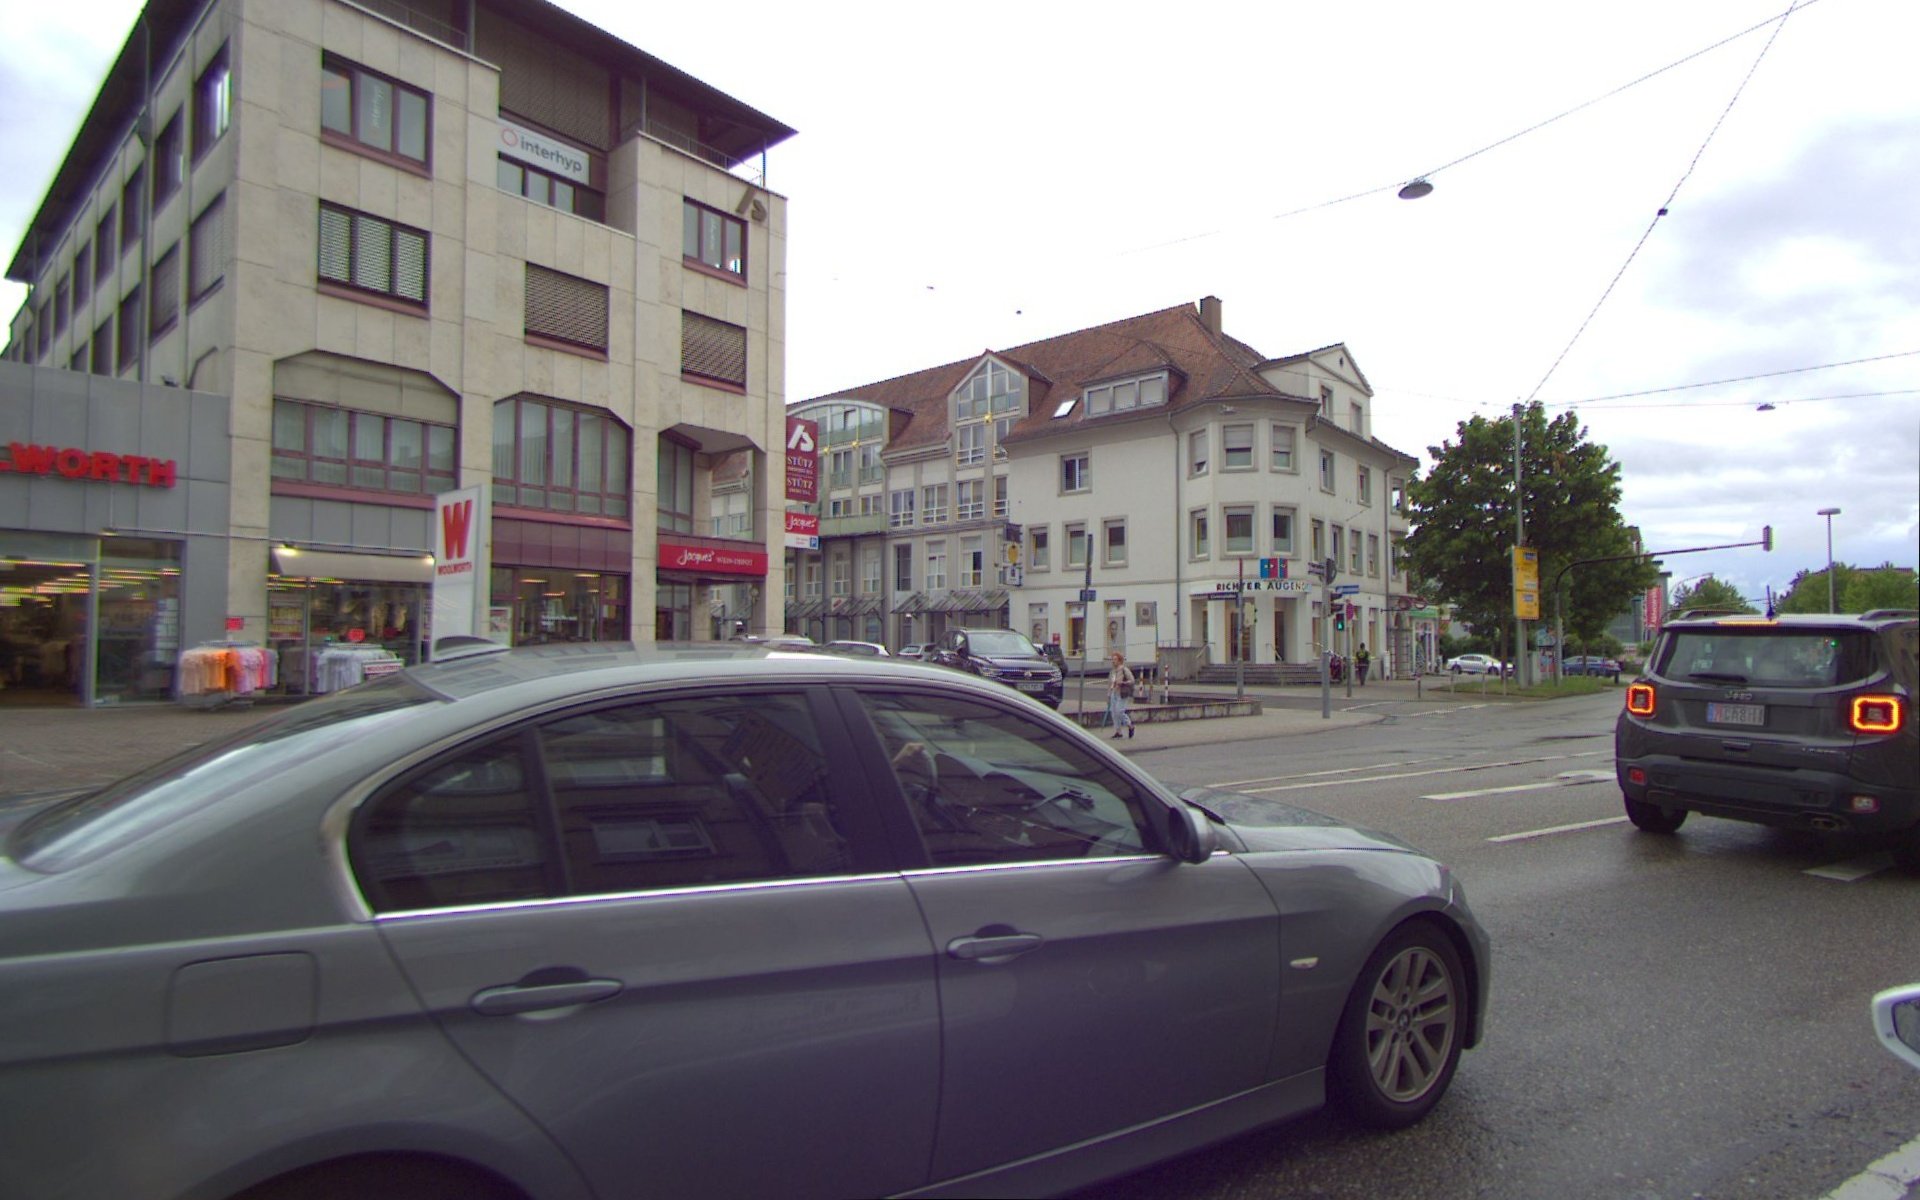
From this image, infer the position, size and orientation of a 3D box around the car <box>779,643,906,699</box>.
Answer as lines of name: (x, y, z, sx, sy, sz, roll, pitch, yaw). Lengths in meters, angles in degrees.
car: (-3.682, 2.228, 31.368, 3.698, 1.519, 1.578, 4, -4, -15)

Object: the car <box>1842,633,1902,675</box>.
car: (46.824, 2.775, 51.661, 1.970, 2.040, 3.983, -2, -4, 39)

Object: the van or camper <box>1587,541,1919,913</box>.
van or camper: (6.864, 0.844, 7.773, 4.098, 2.174, 1.844, 2, -3, -33)

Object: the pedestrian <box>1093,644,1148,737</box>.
pedestrian: (2.789, 1.549, 17.445, 0.751, 1.549, 0.506, 0, -2, 40)

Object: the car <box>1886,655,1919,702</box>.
car: (39.186, 3.134, 40.523, 1.966, 1.839, 3.990, -1, -3, 33)

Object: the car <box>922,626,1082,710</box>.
car: (0.731, 1.374, 20.782, 1.923, 1.525, 4.417, 1, -3, -17)

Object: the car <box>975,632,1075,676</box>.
car: (2.787, 2.345, 43.701, 3.939, 1.839, 1.992, -2, -4, 39)

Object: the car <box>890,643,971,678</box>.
car: (-1.411, 2.929, 48.698, 1.845, 1.611, 3.985, -2, -4, 37)

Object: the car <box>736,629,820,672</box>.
car: (-8.997, 2.497, 49.556, 3.939, 2.040, 1.991, -2, -3, 39)

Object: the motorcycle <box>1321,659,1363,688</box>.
motorcycle: (16.573, 3.158, 43.545, 0.712, 1.193, 2.573, -2, -4, 45)

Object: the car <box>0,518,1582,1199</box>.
car: (-0.282, 0.744, 2.872, 4.322, 1.483, 1.790, 3, -3, -32)

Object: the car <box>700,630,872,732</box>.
car: (-3.187, 1.315, 17.608, 1.861, 1.546, 4.432, 2, -2, -25)

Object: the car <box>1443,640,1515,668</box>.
car: (35.509, 3.700, 68.753, 1.813, 1.906, 3.949, 2, -4, -44)

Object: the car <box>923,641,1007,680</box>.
car: (0.283, 2.815, 47.106, 1.968, 1.752, 3.986, -2, -3, 37)

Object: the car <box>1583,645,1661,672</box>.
car: (44.755, 3.934, 67.973, 1.978, 1.773, 3.967, 2, -3, -31)

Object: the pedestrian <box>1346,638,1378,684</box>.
pedestrian: (15.451, 2.348, 38.599, 0.949, 1.731, 0.932, -2, -3, 35)
